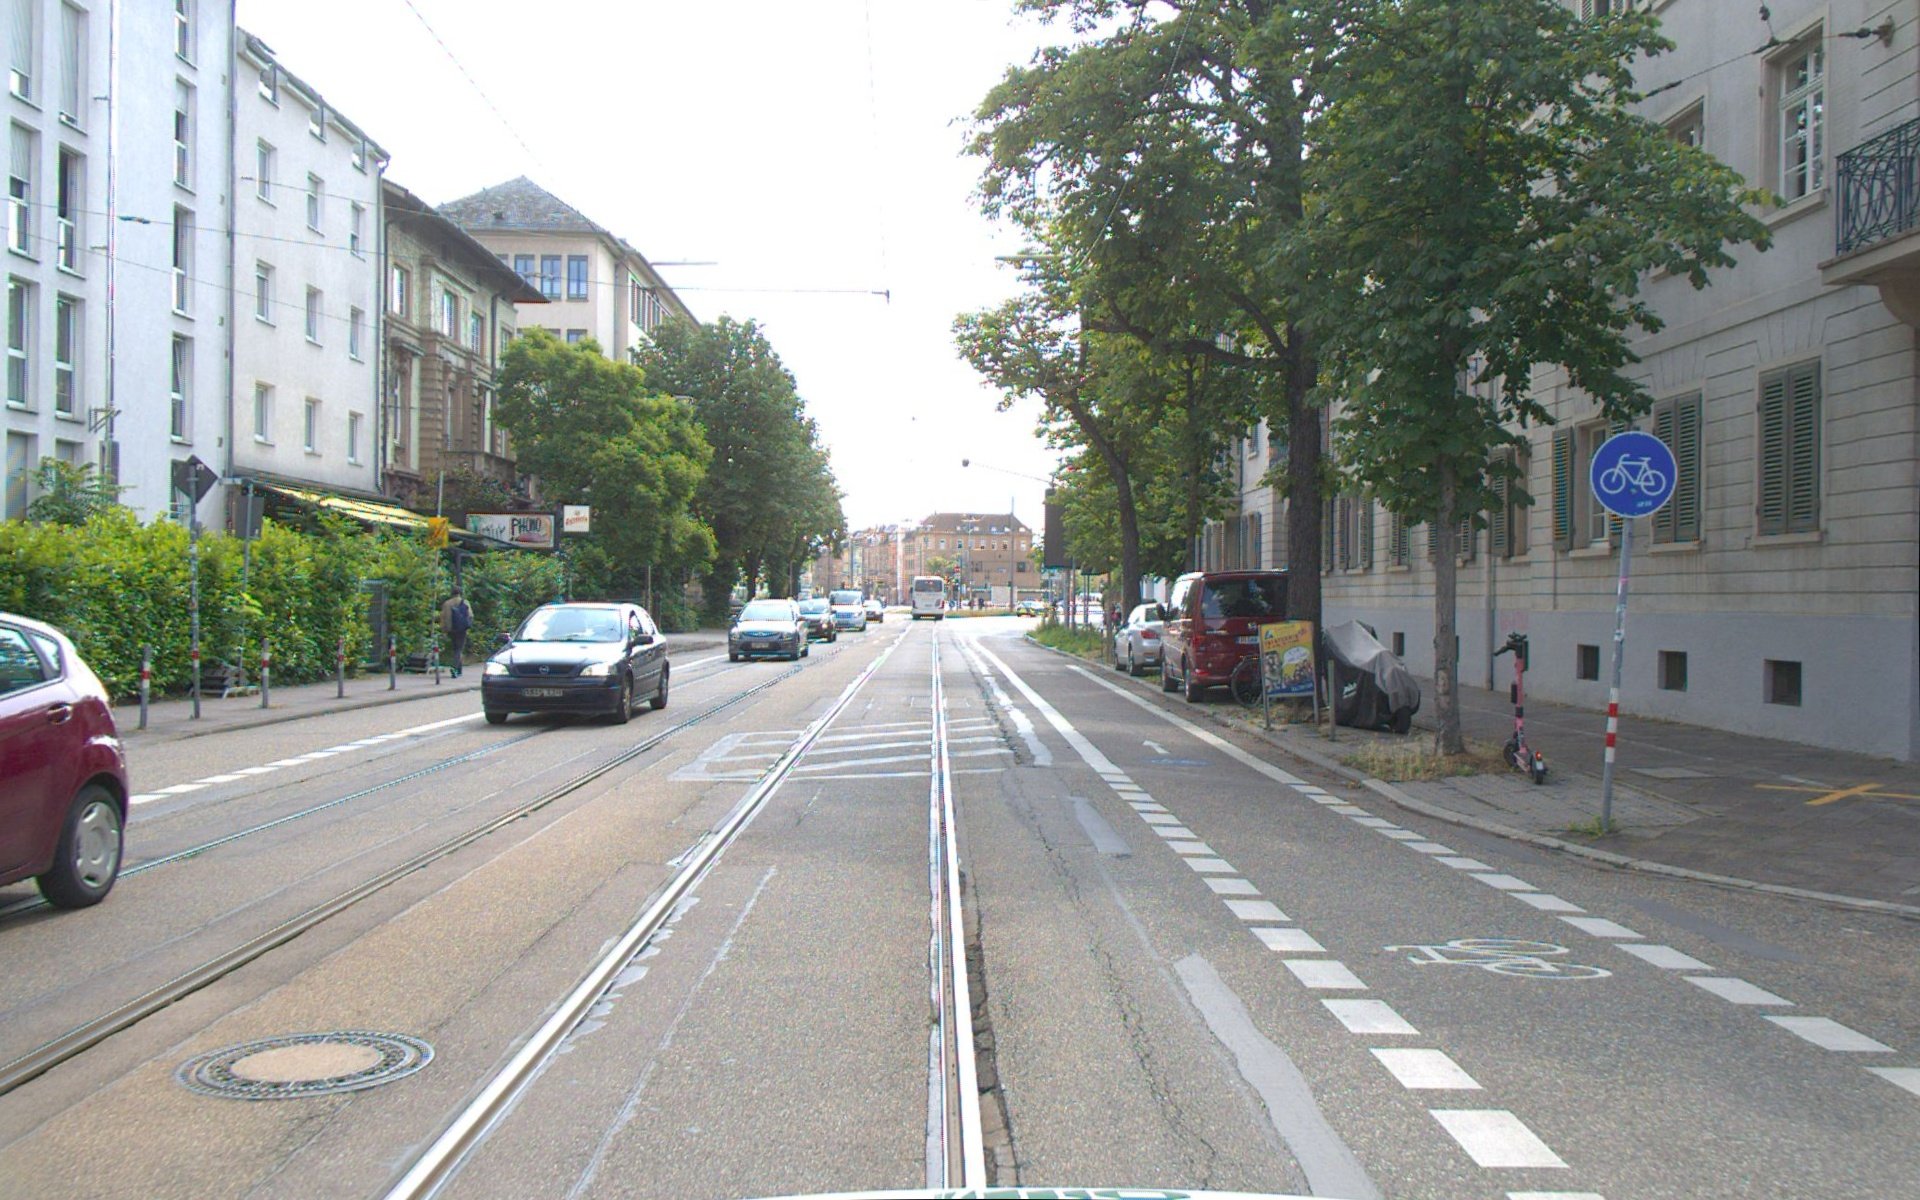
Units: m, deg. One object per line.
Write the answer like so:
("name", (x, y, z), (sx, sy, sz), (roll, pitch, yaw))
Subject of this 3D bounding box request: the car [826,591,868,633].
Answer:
("car", (-5.436, 0.566, 80.066), (1.859, 1.940, 5.381), (0, 0, -2))

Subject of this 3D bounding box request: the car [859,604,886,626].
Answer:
("car", (-5.794, 0.989, 109.305), (1.654, 1.426, 3.929), (0, 0, -1))

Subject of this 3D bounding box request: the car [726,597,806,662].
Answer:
("car", (-4.913, 0.714, 42.333), (1.692, 1.567, 4.275), (0, 0, -2))

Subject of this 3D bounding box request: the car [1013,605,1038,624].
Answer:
("car", (6.241, 1.368, 156.763), (2.085, 1.713, 4.105), (2, 1, 5))

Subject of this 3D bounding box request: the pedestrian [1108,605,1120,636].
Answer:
("pedestrian", (8.868, 1.202, 95.320), (0.670, 1.754, 0.747), (-1, 1, 3))

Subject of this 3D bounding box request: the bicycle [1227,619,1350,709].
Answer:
("bicycle", (4.578, 0.885, 23.068), (1.578, 1.224, 0.589), (1, 0, -4))

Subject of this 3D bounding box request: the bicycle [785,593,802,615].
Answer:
("bicycle", (-9.400, 0.219, 93.385), (0.590, 1.116, 2.023), (-5, 0, 2))

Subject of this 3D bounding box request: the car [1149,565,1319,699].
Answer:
("car", (4.358, 0.477, 27.043), (1.857, 1.975, 4.949), (0, 0, -1))

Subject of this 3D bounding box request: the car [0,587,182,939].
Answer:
("car", (-4.785, 0.688, 6.485), (1.561, 1.465, 3.936), (-1, 0, 1))

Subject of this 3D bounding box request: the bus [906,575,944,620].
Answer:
("bus", (-2.873, -0.118, 134.157), (2.859, 3.386, 12.201), (1, -1, -2))

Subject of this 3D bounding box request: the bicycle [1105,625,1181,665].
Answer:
("bicycle", (4.326, 1.060, 39.214), (1.739, 0.918, 0.692), (0, 0, 2))

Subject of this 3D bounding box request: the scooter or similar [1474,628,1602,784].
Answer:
("scooter or similar", (5.076, 0.897, 14.627), (0.521, 1.273, 1.719), (0, 0, 0))

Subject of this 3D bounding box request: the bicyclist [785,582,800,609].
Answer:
("bicyclist", (-9.450, -0.260, 93.325), (0.587, 1.518, 0.882), (-5, 0, 2))

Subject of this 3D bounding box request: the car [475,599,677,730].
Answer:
("car", (-4.646, 0.716, 20.550), (1.595, 1.432, 4.128), (1, 0, -1))

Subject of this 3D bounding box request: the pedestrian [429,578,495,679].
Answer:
("pedestrian", (-9.855, 0.558, 32.778), (1.038, 1.951, 0.829), (1, 0, -2))

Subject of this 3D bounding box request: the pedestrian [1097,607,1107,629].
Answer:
("pedestrian", (8.287, 1.042, 96.409), (0.417, 1.221, 0.401), (-2, 1, -34))

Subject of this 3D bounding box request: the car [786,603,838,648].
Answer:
("car", (-5.386, 0.893, 60.565), (1.598, 1.584, 3.821), (0, 0, -1))

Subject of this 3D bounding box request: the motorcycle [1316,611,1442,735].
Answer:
("motorcycle", (4.886, 0.811, 19.475), (0.840, 1.344, 2.445), (1, 0, 0))

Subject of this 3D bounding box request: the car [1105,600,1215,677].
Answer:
("car", (4.196, 0.771, 35.374), (1.672, 1.524, 4.787), (0, 0, -1))
